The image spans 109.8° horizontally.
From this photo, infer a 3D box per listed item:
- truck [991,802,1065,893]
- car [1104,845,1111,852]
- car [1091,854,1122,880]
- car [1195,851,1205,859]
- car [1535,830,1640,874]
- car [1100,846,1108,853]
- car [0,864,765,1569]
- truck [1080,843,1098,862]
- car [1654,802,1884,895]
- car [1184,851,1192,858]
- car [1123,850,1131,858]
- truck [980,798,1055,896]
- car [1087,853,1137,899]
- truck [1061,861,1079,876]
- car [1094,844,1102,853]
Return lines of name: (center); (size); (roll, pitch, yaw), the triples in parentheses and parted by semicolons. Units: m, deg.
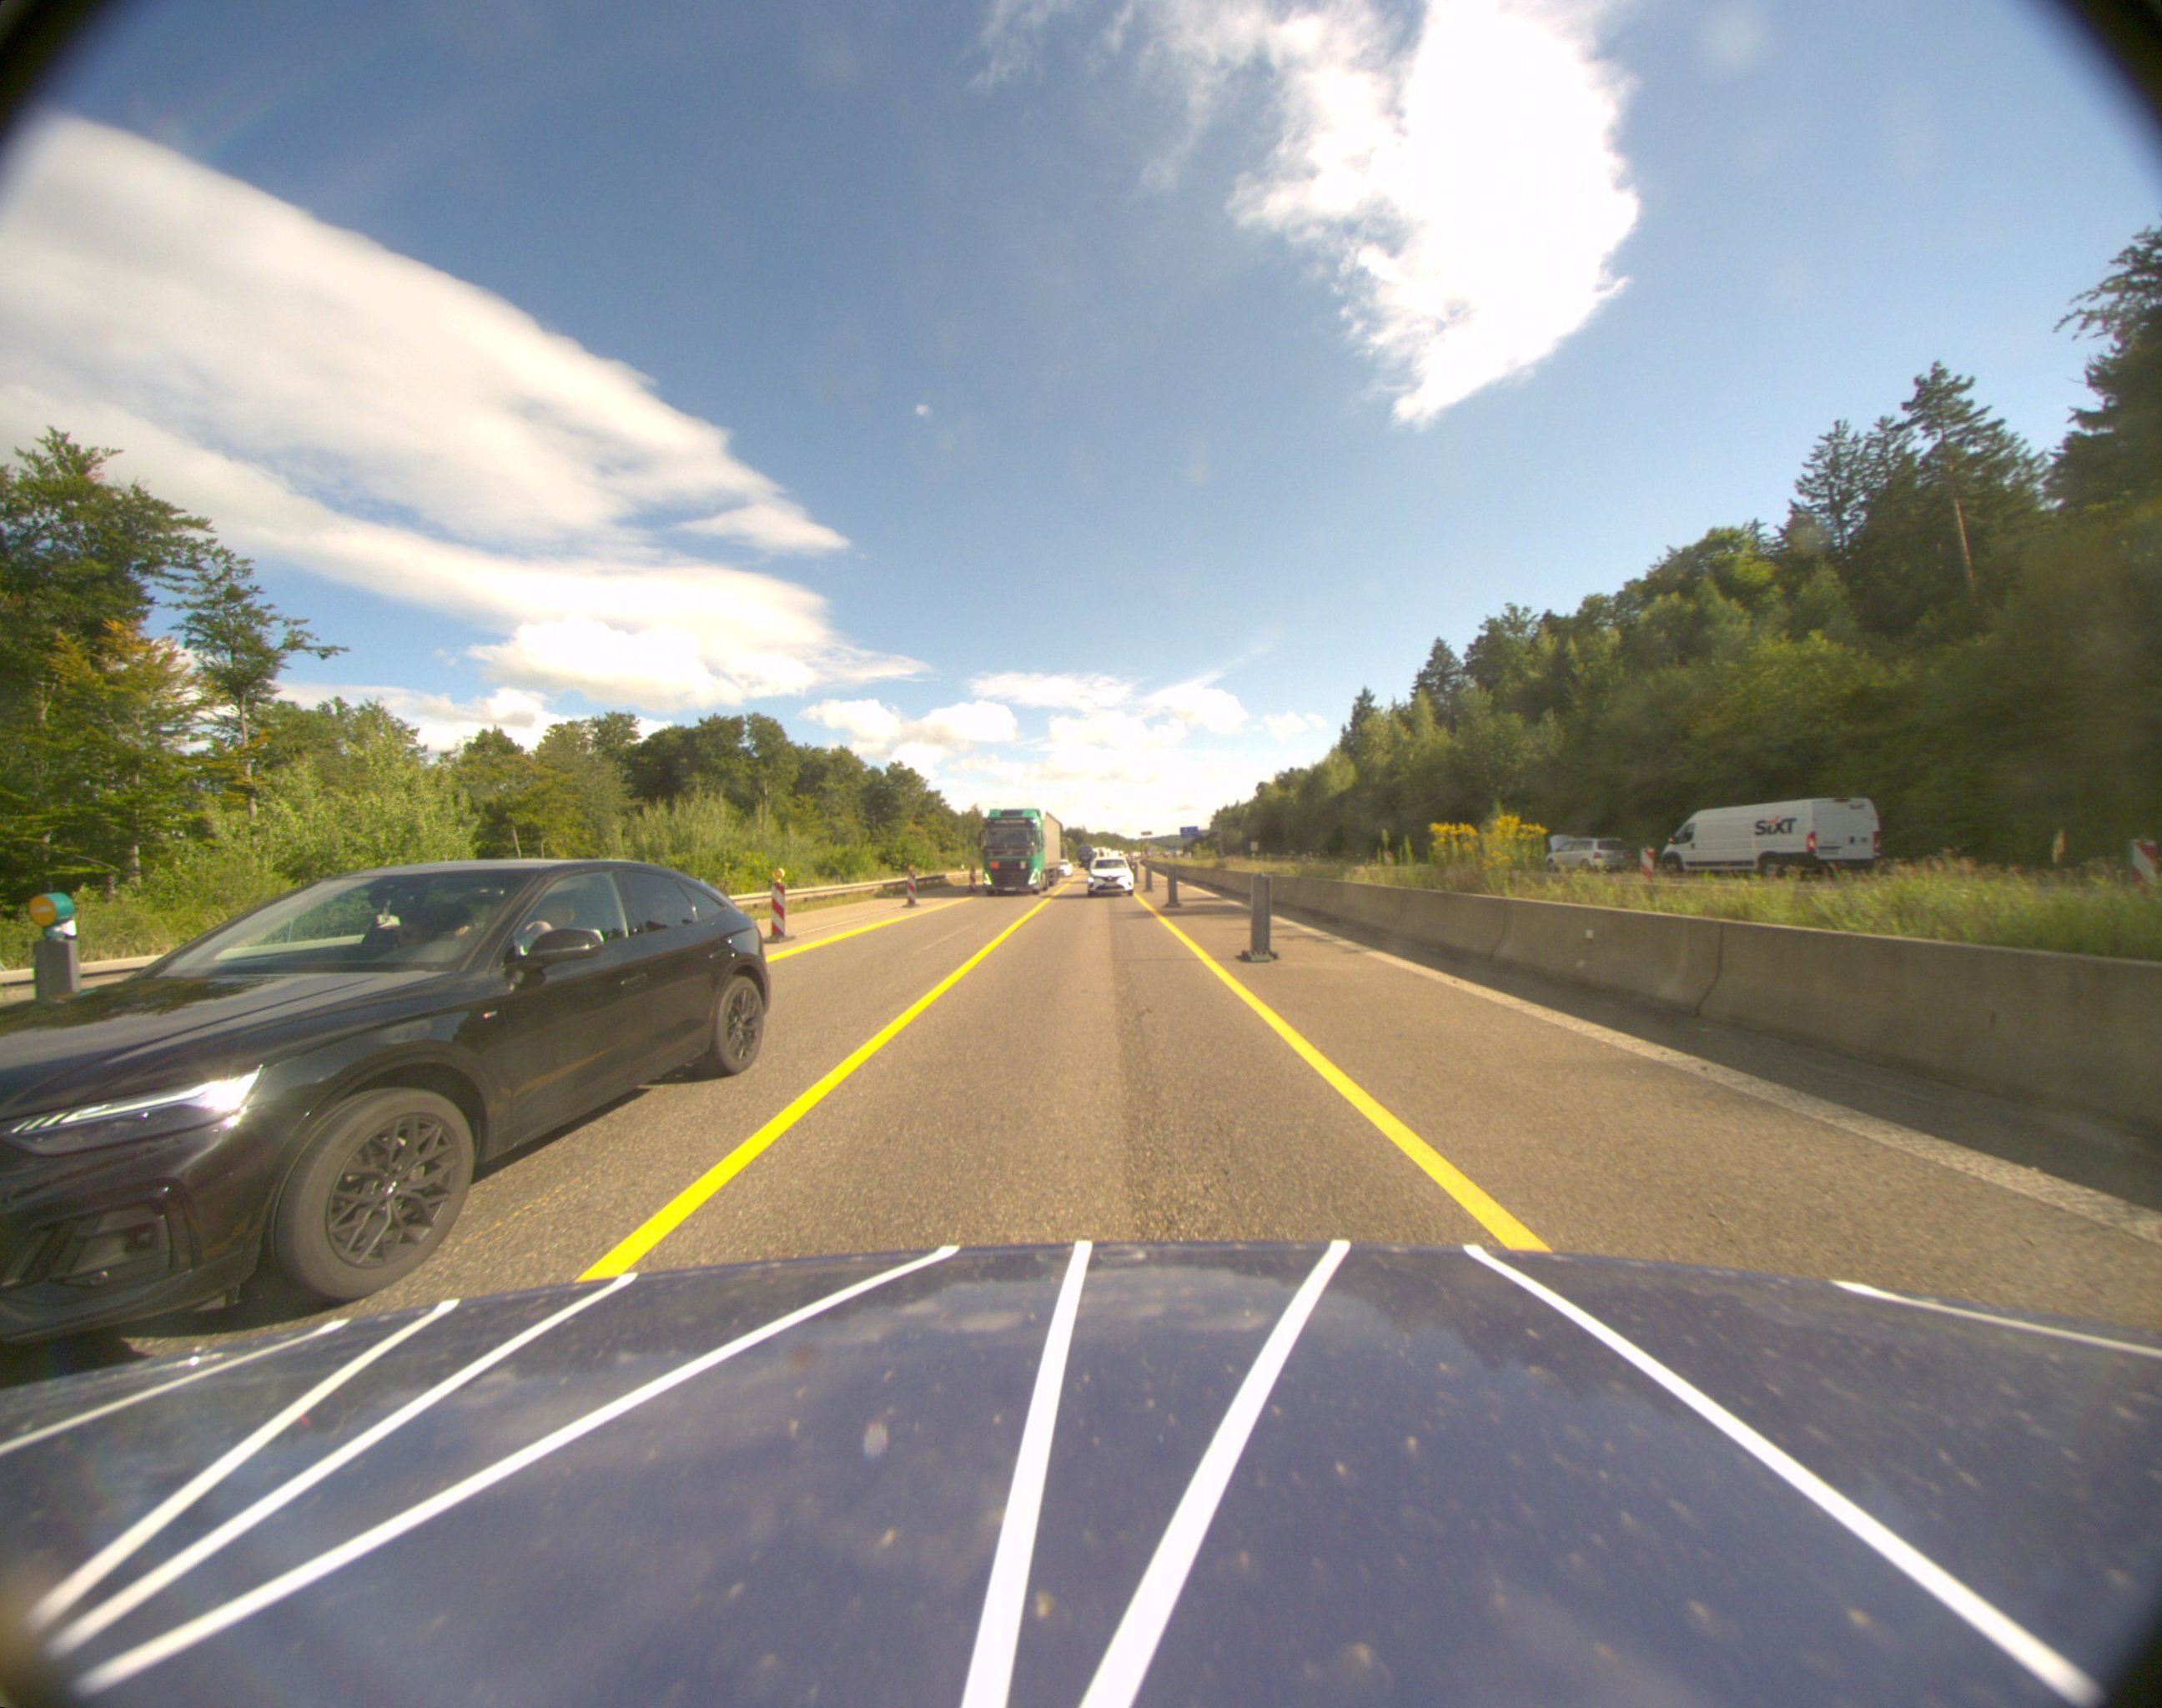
truck: (-2.586, -0.271, 42.099); (2.470, 4.119, 14.213); (-2, 0, 2)
car: (7.552, -1.538, 217.564); (1.750, 1.787, 4.000); (-2, 1, 2)
car: (1.564, 0.772, 46.971); (1.782, 1.468, 4.018); (-2, 1, 2)
car: (27.237, 0.202, 173.729); (1.782, 1.775, 4.365); (-2, 1, 2)
car: (23.760, -0.107, 35.887); (1.865, 1.843, 4.762); (-2, 1, 2)
car: (5.558, -1.090, 185.197); (1.750, 1.787, 4.000); (-2, 1, 2)
car: (-3.461, 0.926, 3.870); (1.782, 1.593, 4.294); (-2, 1, 1)
truck: (1.385, -0.275, 130.808); (2.576, 3.167, 6.804); (-2, 1, 5)
car: (22.777, -0.197, 25.698); (2.033, 2.669, 6.523); (-2, 1, 2)
car: (30.463, 0.098, 216.525); (1.782, 1.775, 4.365); (-2, 1, 2)
car: (12.086, 0.052, 198.974); (1.998, 2.002, 4.001); (-2, 1, 4)
truck: (-2.828, -0.320, 35.856); (2.527, 4.075, 6.857); (-2, 1, 2)
car: (1.228, 0.826, 30.338); (1.782, 1.593, 4.018); (-2, 1, 2)
truck: (-0.909, 1.237, 65.218); (1.468, 1.215, 3.087); (-2, 1, 0)
car: (3.692, -1.250, 162.942); (1.750, 1.787, 4.000); (-2, 1, 2)
